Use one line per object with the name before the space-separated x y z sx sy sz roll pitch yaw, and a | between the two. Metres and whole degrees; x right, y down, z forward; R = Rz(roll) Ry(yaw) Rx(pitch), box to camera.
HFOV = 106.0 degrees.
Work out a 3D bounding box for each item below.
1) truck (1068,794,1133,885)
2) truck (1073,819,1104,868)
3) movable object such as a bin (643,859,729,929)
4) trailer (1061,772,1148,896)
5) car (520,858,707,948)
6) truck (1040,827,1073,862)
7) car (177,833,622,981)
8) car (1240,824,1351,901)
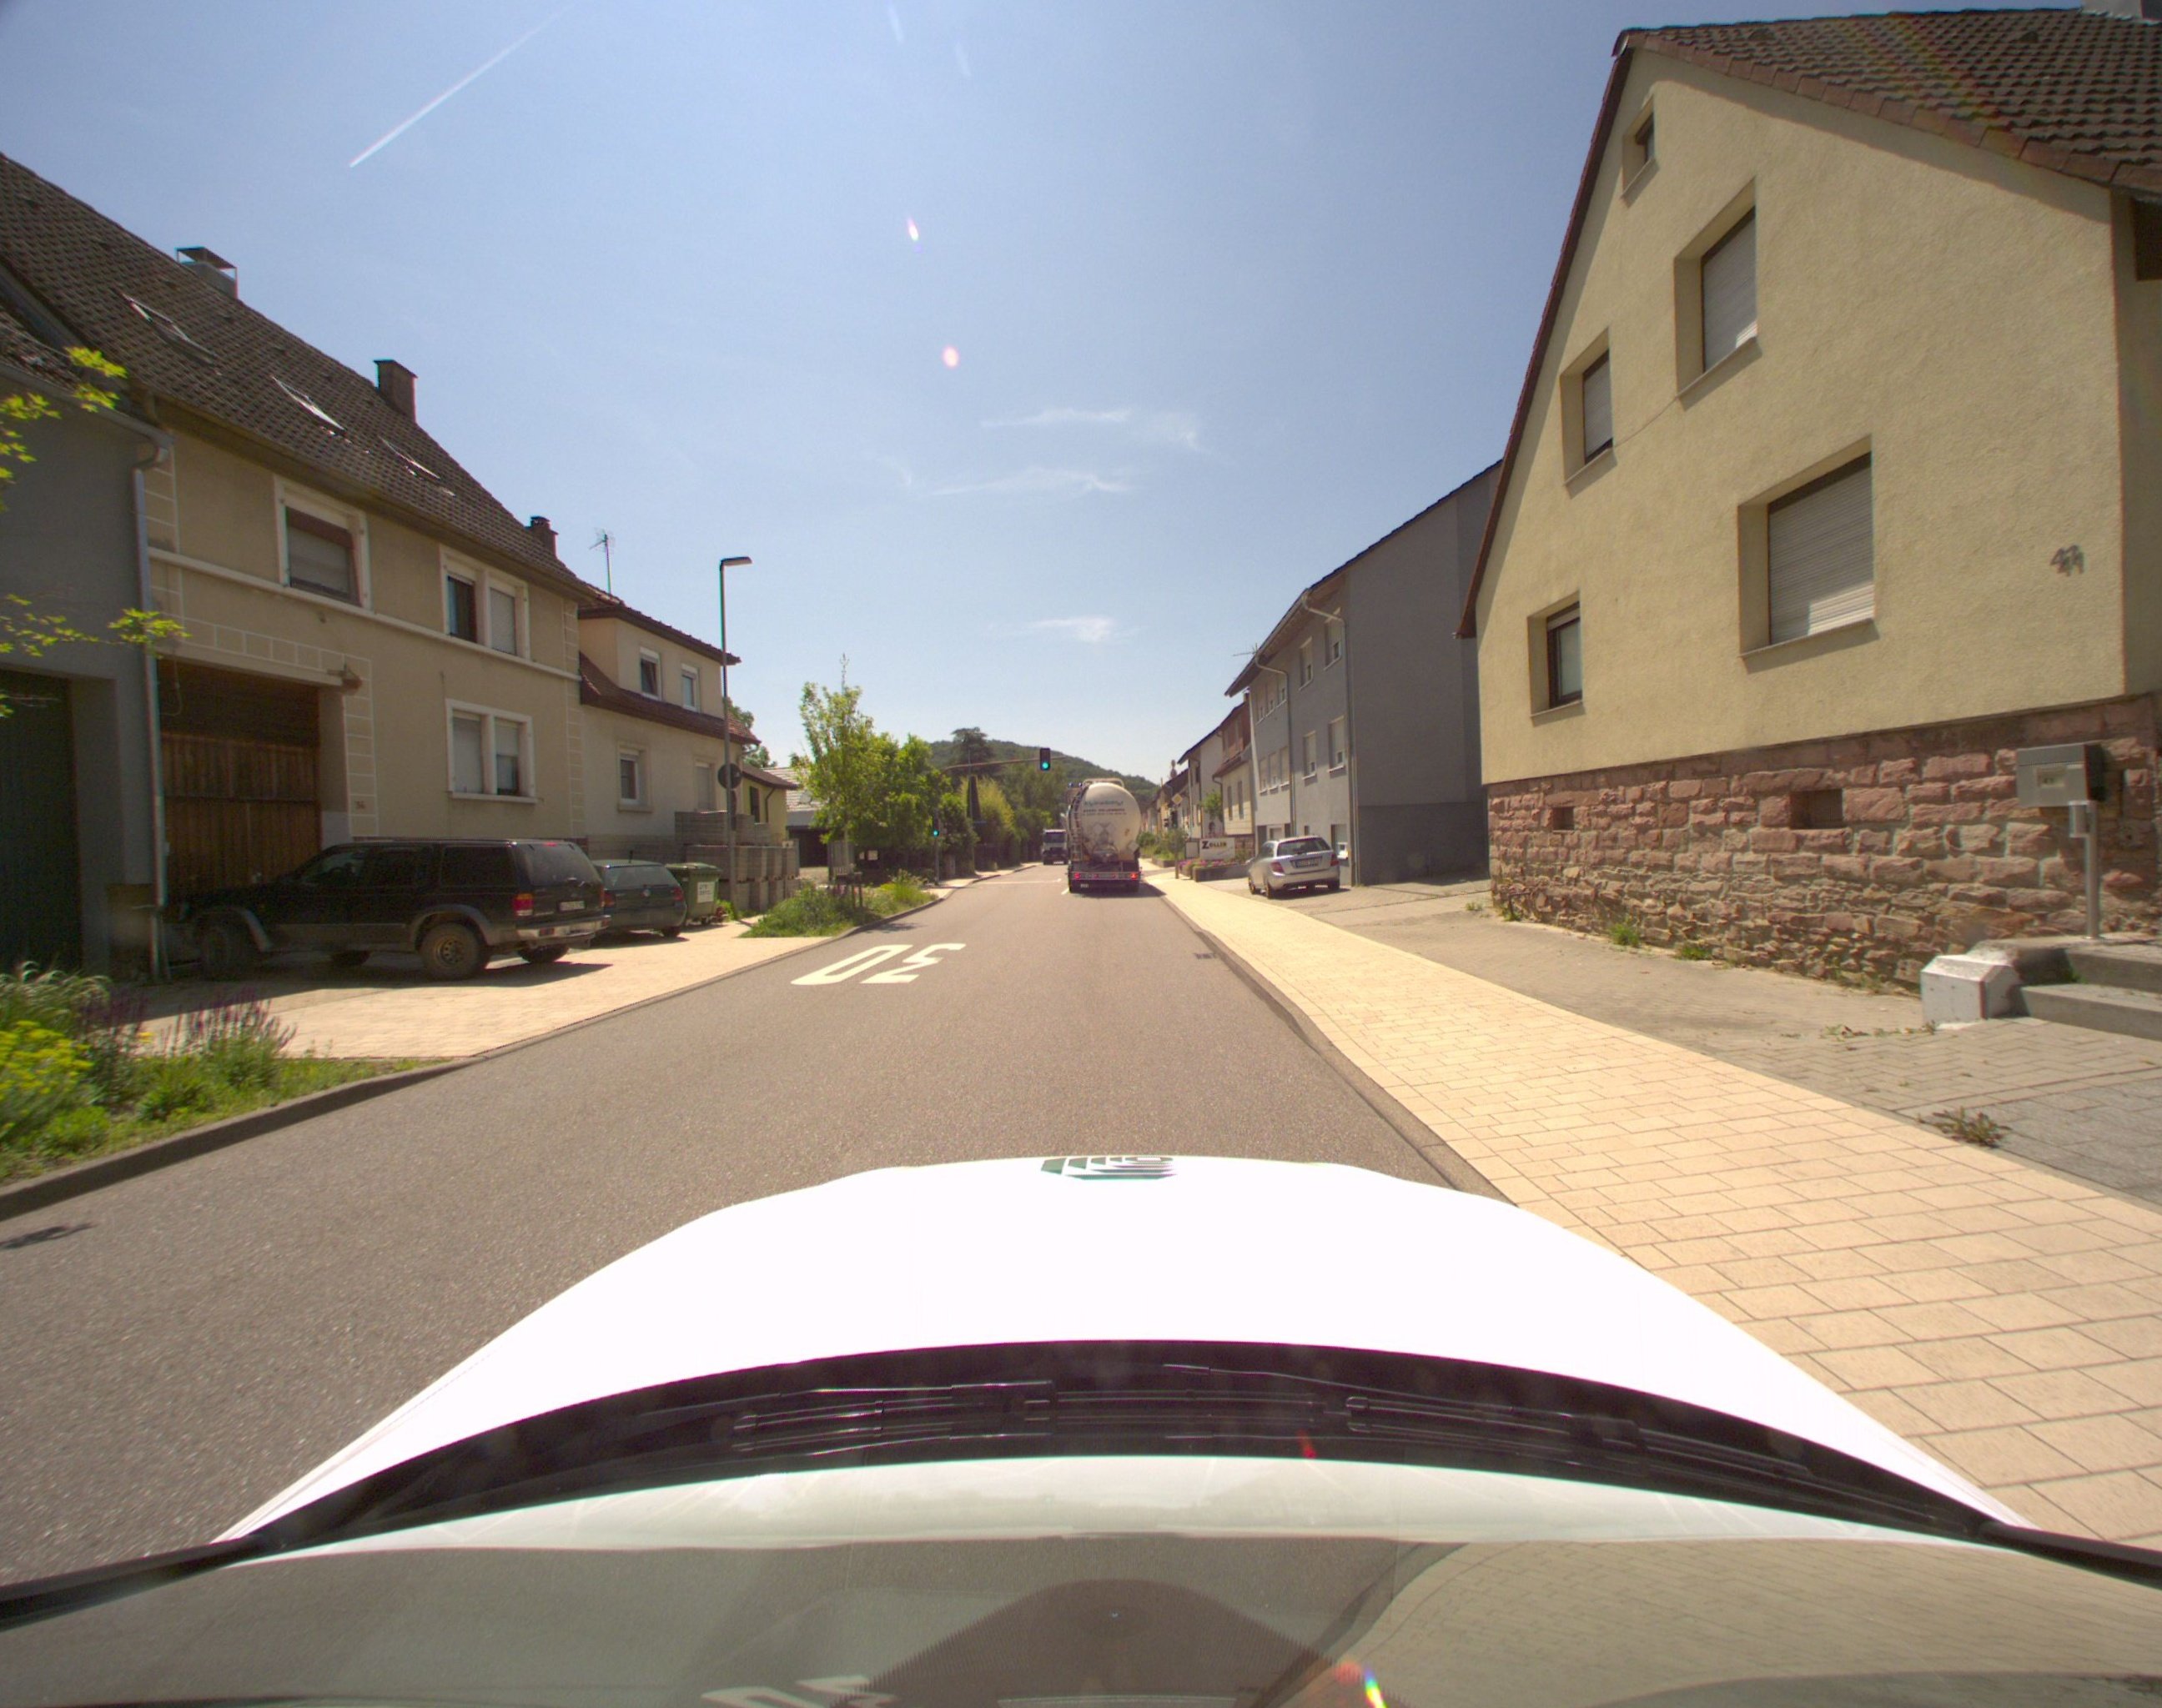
truck | 0.891 -0.645 38.222 2.799 3.937 6.099 0 0 0
truck | 0.858 -1.001 83.235 2.836 4.678 11.344 -1 0 2
movable object such as a bin | -8.178 0.804 16.931 0.984 1.319 1.406 0 2 6
trailer | 0.820 -0.669 31.752 2.787 4.001 10.324 -1 0 1
car | -8.723 0.843 15.120 3.505 1.439 1.710 -1 0 36
truck | -2.396 -0.891 83.026 2.718 3.371 8.639 0 0 2
car | -8.909 0.655 10.946 4.379 1.750 1.878 -1 0 1
car | 5.389 0.185 21.093 1.783 1.541 4.524 -8 0 4
